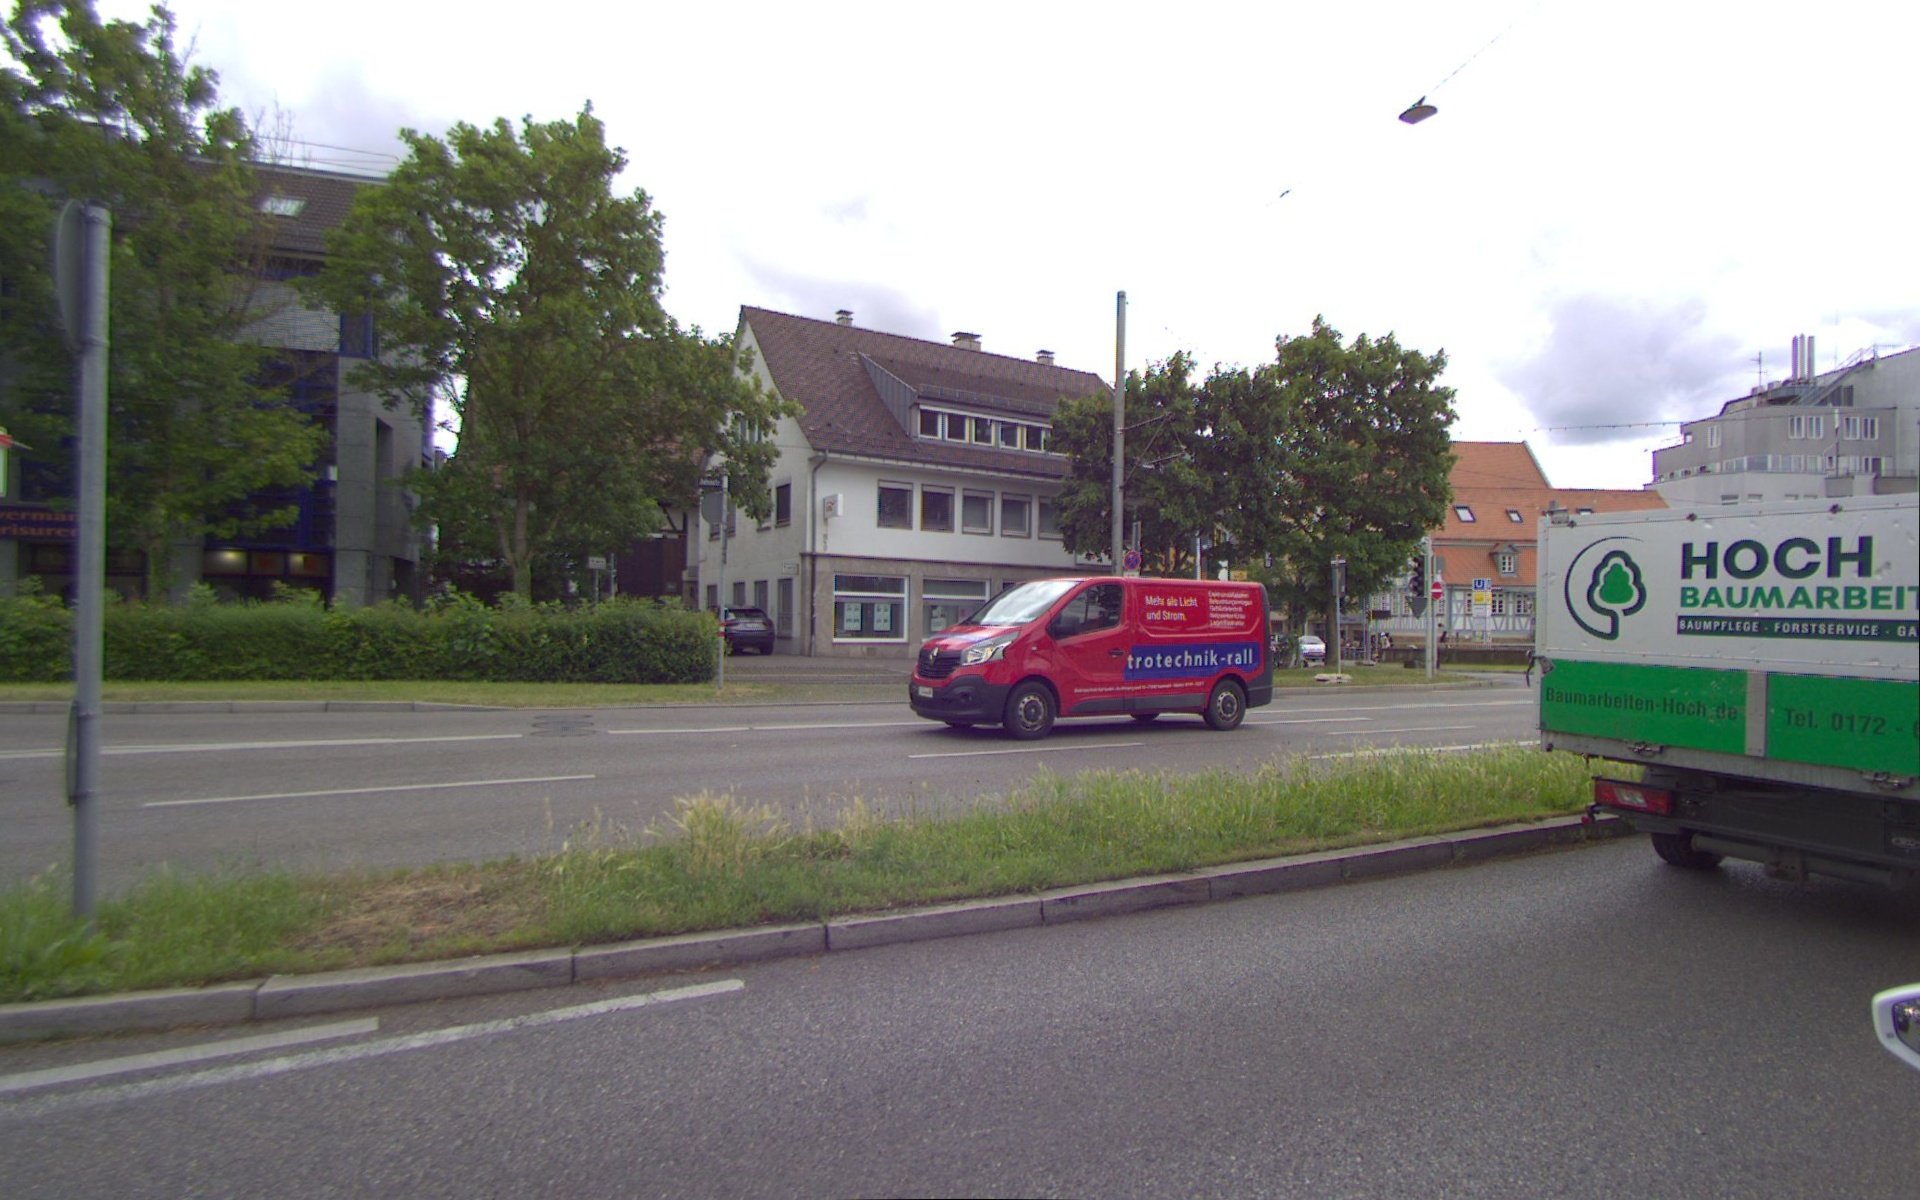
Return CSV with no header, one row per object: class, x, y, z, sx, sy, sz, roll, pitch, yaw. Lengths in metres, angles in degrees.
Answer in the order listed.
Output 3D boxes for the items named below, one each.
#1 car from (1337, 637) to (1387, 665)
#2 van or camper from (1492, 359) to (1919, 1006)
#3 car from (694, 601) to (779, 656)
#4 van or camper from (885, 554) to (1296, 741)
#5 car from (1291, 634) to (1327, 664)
car,25.794,3.259,64.566,1.959,1.706,4.003,1,-2,6
van or camper,6.202,0.354,6.288,5.895,2.697,2.331,0,1,-31
car,-7.160,0.876,31.991,1.700,1.632,3.671,1,-1,-28
van or camper,1.777,0.581,13.097,5.133,2.040,1.985,2,-1,-29
car,21.751,3.025,62.748,1.815,1.606,3.608,0,2,14
